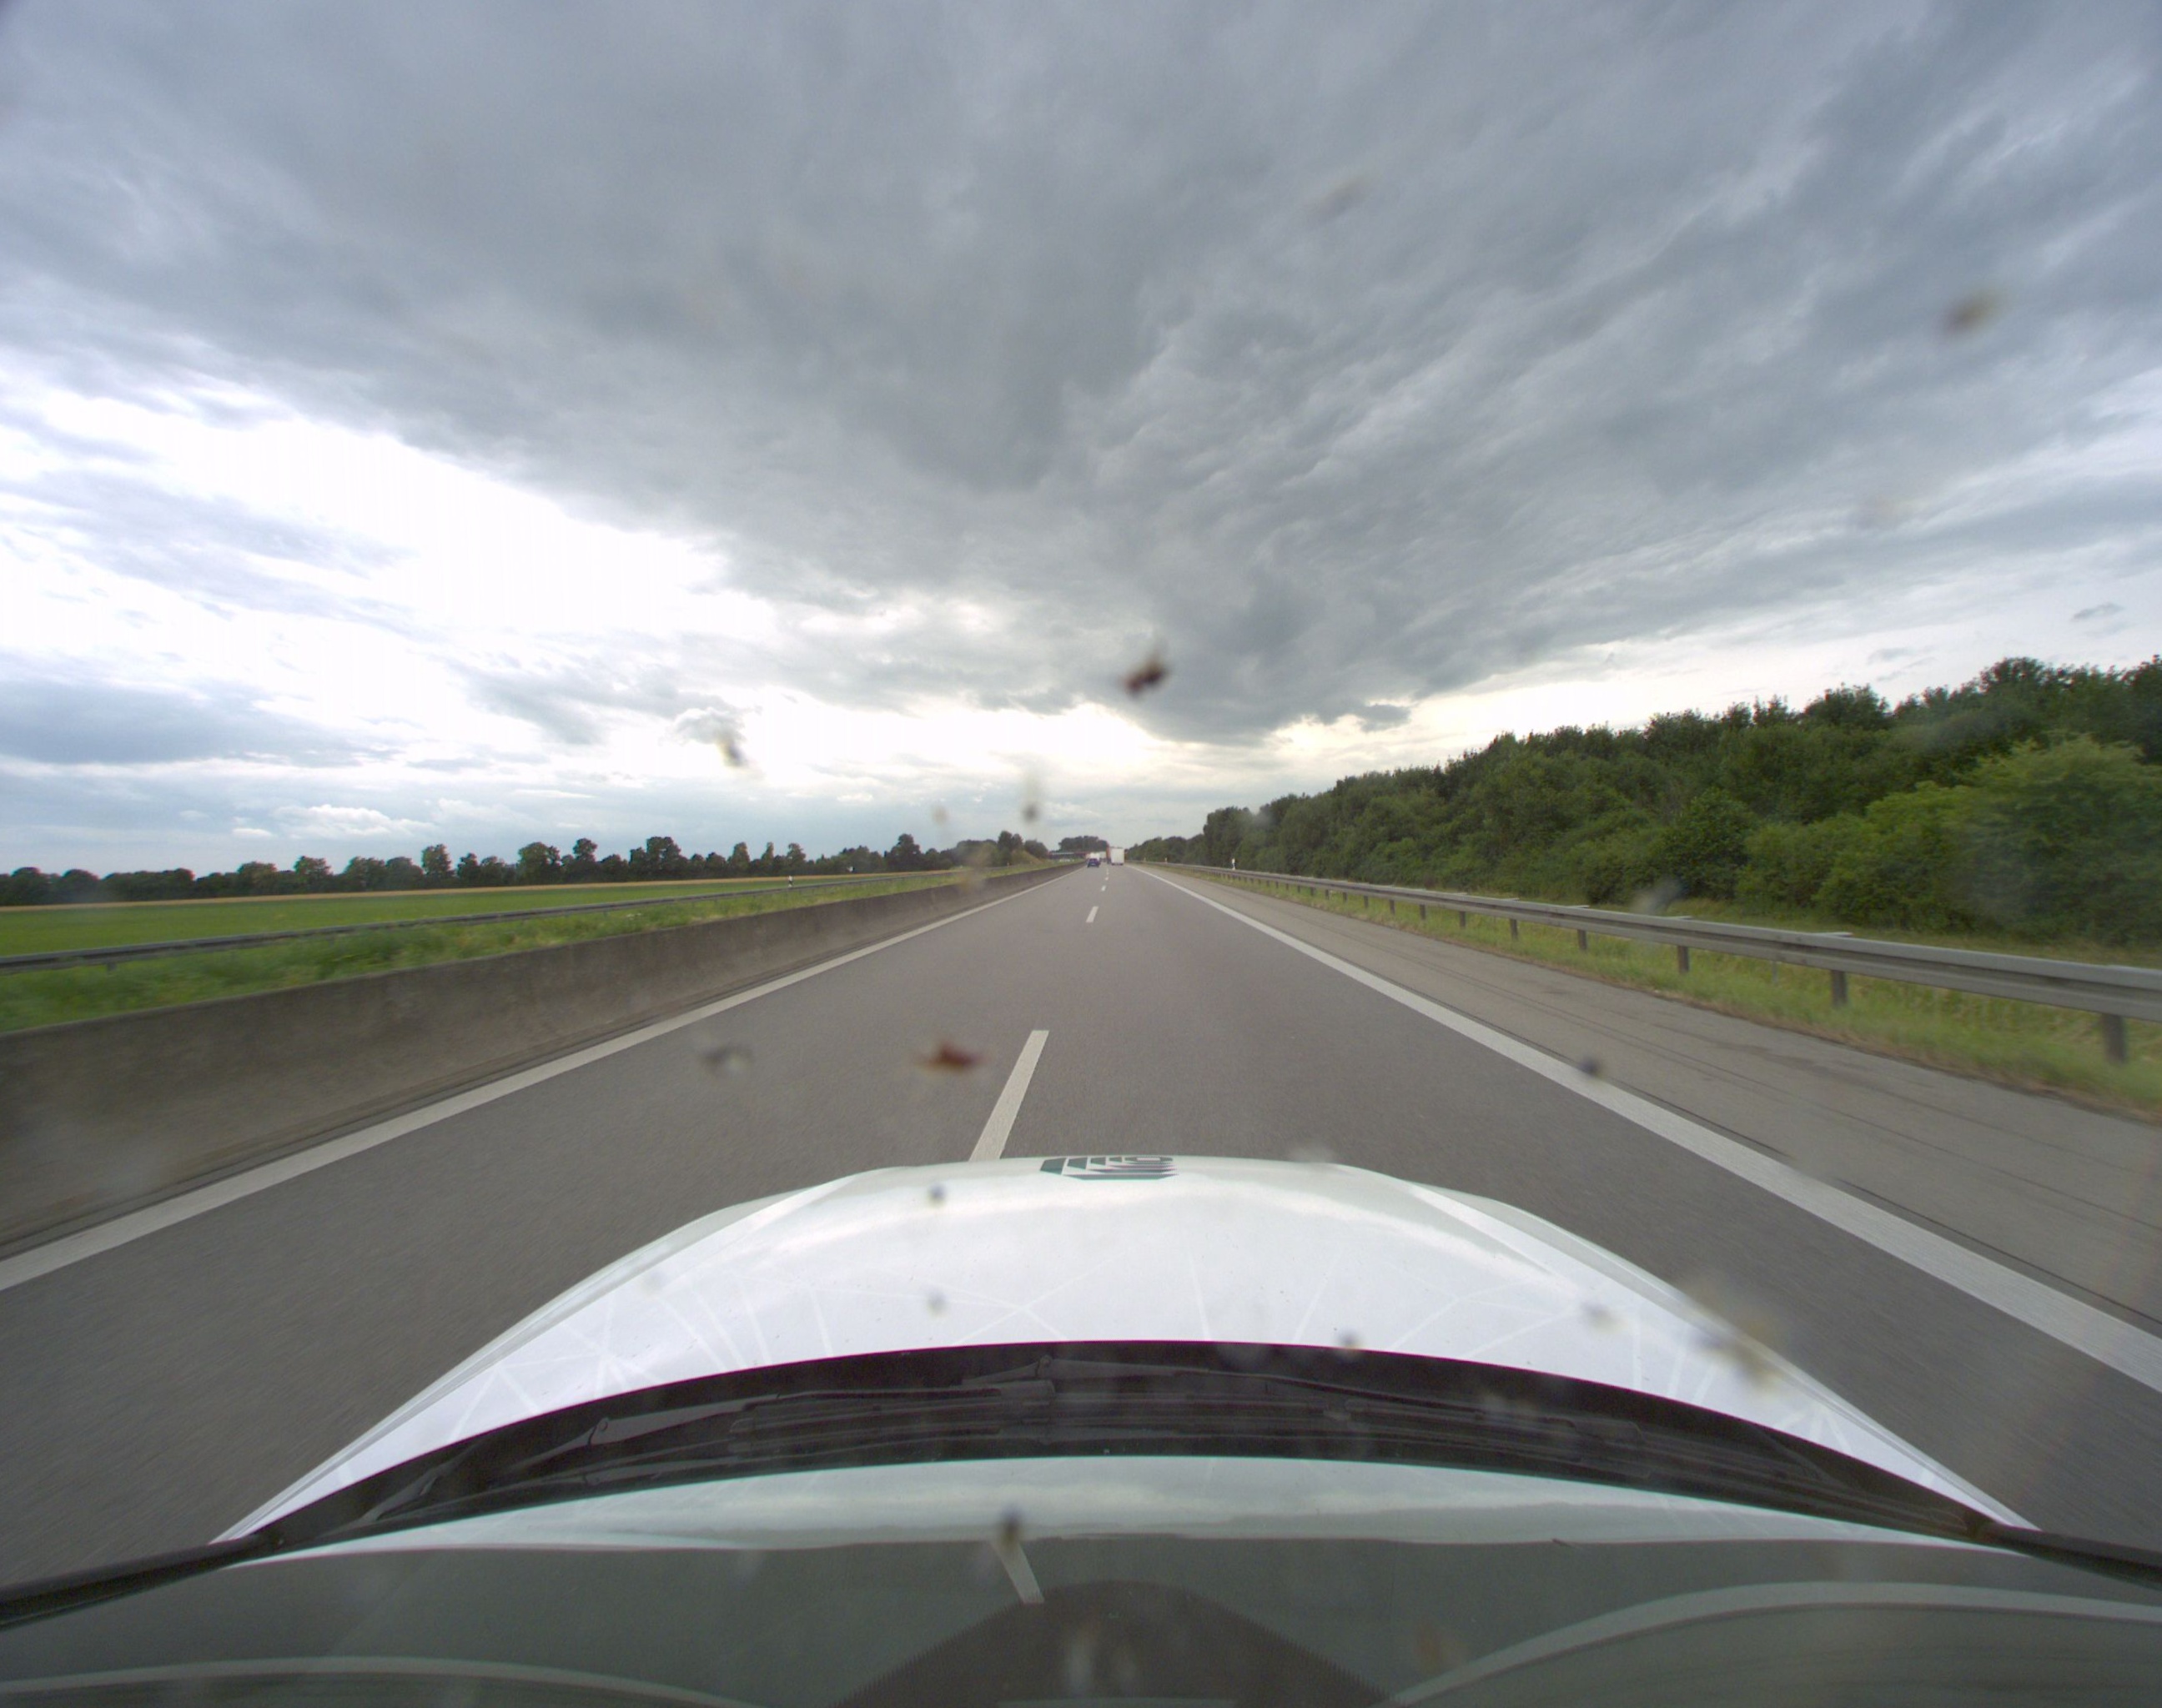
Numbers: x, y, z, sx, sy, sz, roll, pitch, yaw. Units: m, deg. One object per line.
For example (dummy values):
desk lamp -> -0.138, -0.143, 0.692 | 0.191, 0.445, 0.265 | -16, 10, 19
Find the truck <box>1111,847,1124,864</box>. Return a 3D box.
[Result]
truck -> 7.242, 0.296, 162.650 | 2.420, 3.244, 7.250 | -1, -1, 2

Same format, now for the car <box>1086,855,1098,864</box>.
car -> 1.687, 0.812, 123.467 | 1.658, 1.407, 3.647 | -1, 0, -1

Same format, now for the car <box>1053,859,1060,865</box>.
car -> -7.088, 2.303, 236.114 | 1.740, 1.487, 4.530 | -4, 0, 1

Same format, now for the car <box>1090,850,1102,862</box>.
car -> 3.081, 0.432, 165.870 | 2.122, 2.483, 5.841 | -2, -1, 2

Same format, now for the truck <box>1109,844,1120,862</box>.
truck -> 8.139, -0.257, 197.998 | 2.663, 4.045, 5.515 | -2, 0, 2

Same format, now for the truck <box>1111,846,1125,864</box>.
truck -> 7.005, 0.199, 155.458 | 2.406, 3.222, 7.146 | -1, -1, 2

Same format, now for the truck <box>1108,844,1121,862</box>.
truck -> 7.921, -0.256, 192.590 | 2.663, 4.045, 11.113 | -2, 0, 2
